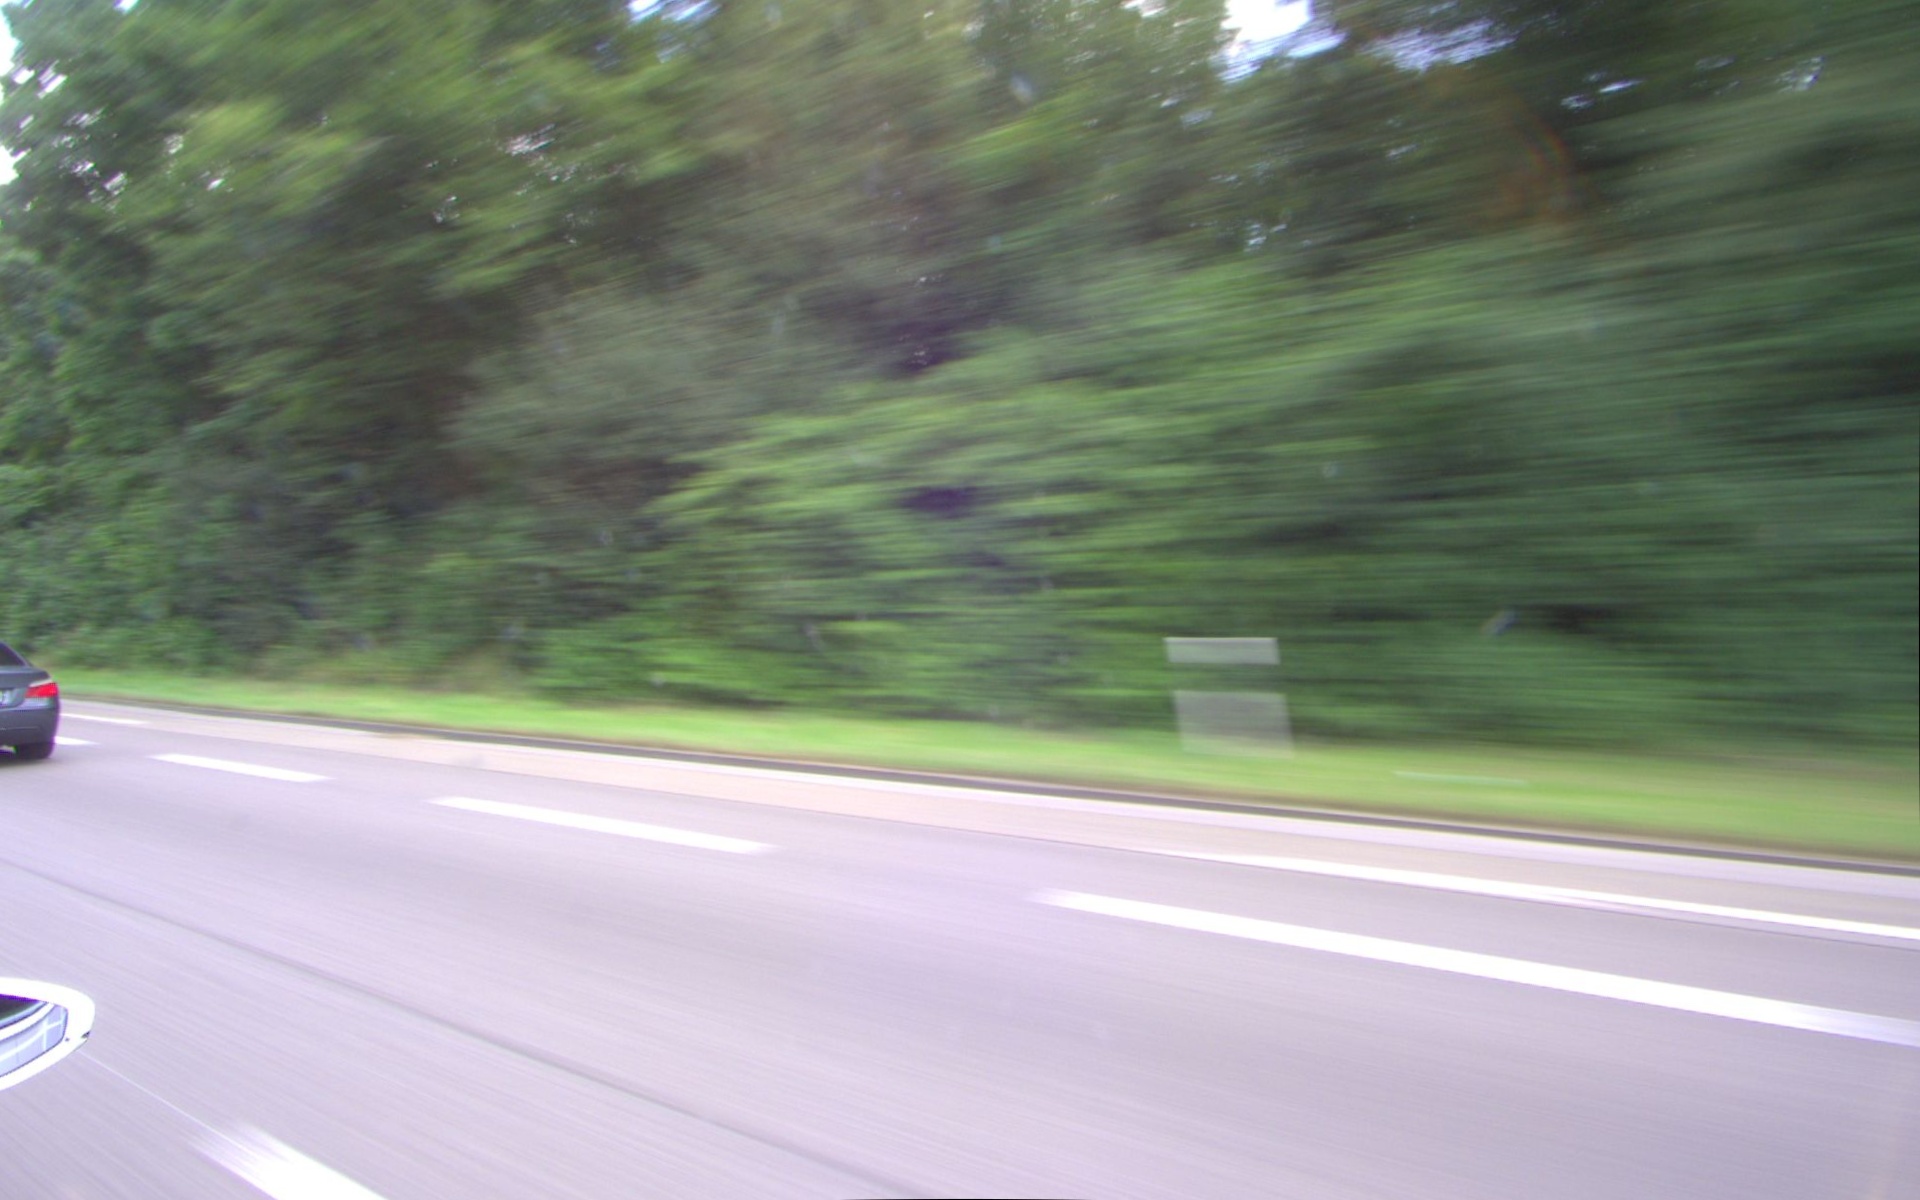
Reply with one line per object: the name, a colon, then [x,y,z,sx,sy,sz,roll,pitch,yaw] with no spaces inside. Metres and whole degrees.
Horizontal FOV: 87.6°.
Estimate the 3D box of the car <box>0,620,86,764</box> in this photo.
car: [-12.120,0.984,11.536,4.810,1.494,1.771,-1,-2,32]
